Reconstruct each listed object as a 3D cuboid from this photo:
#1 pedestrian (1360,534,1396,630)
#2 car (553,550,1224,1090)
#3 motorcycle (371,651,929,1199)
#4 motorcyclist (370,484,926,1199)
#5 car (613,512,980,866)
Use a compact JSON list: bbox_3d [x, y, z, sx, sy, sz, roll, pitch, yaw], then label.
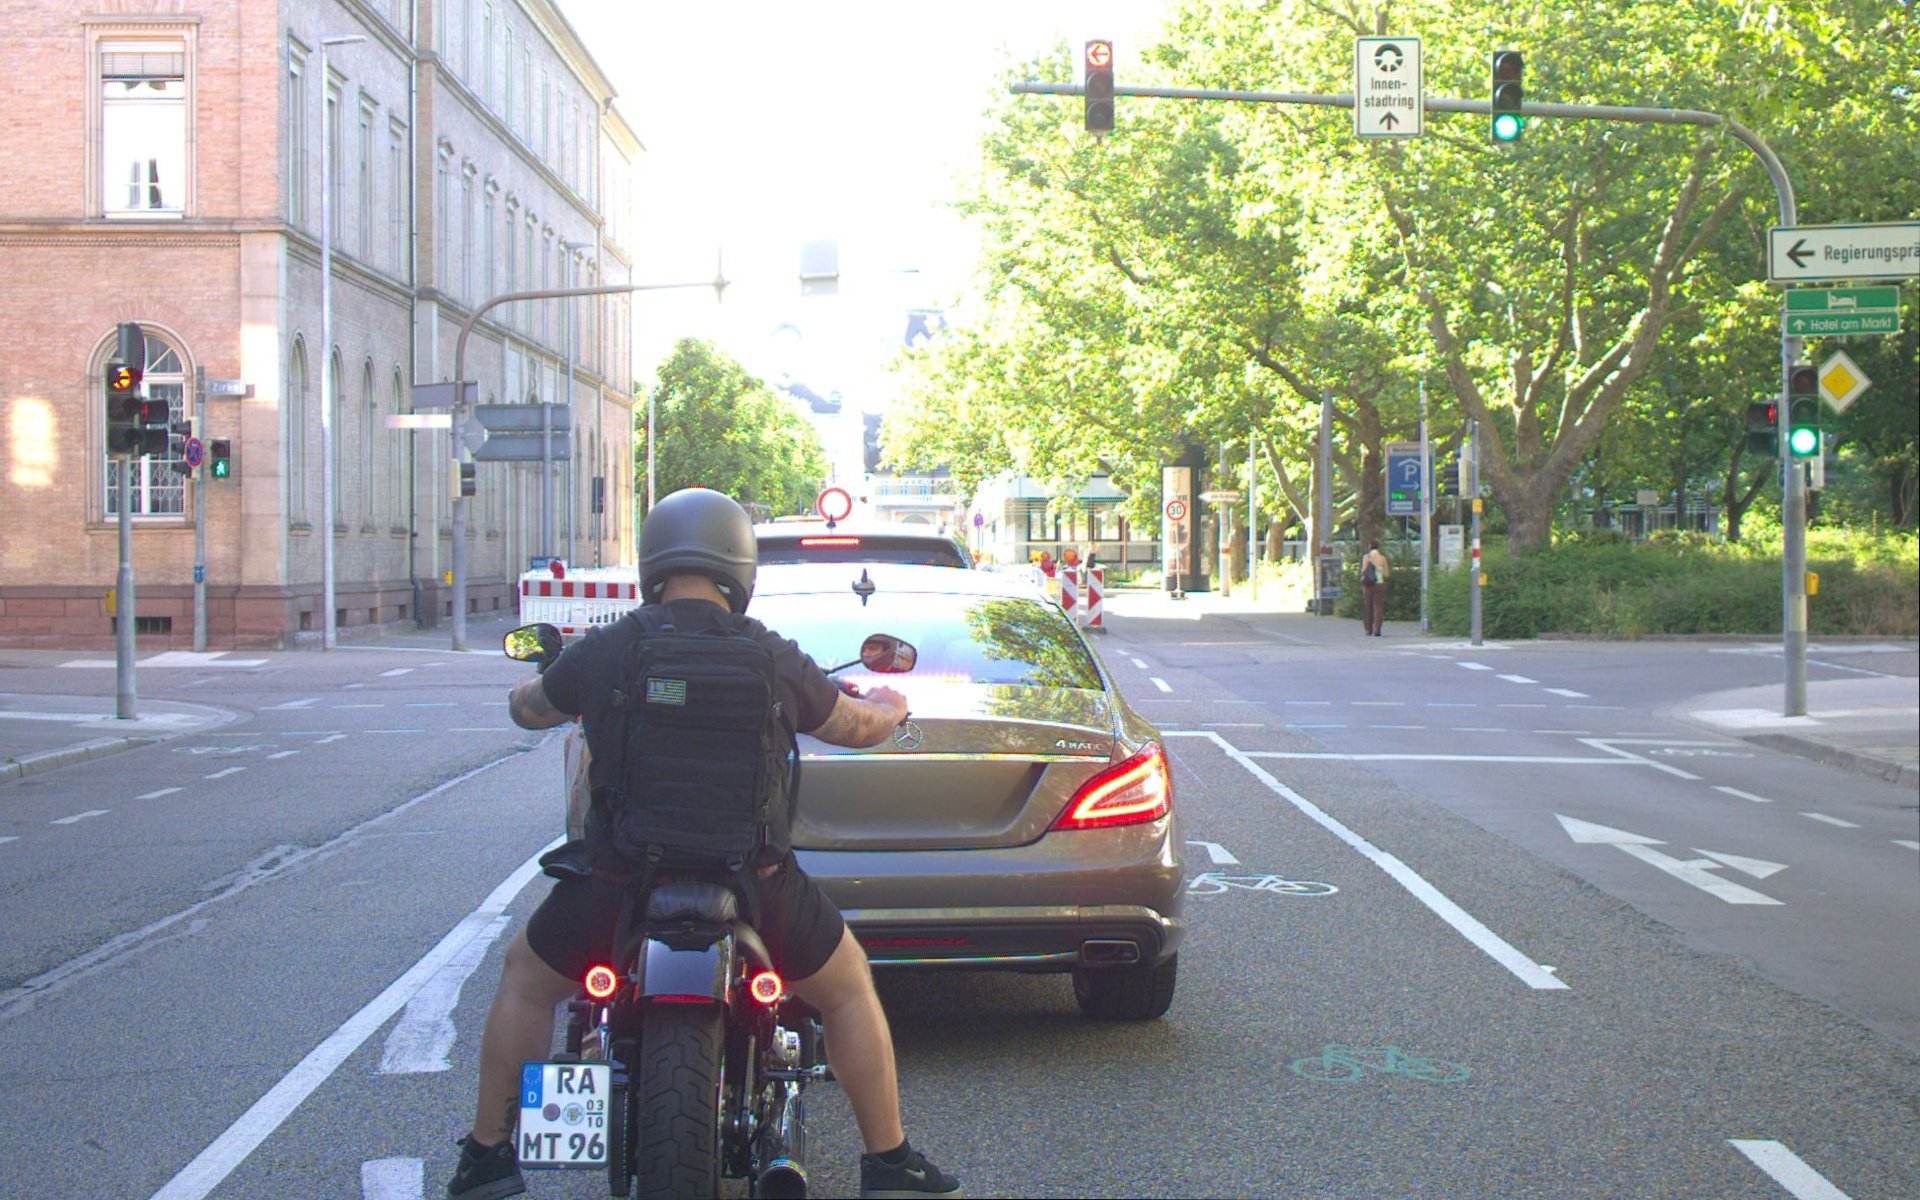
[{"bbox_3d":[7.356,-0.321,60.572,0.559,1.672,0.565,0,1,-1],"label":"pedestrian"},{"bbox_3d":[-0.442,0.569,11.659,1.821,1.471,4.354,0,1,-7],"label":"car"},{"bbox_3d":[-0.575,0.758,7.545,1.007,1.200,2.665,0,1,-1],"label":"motorcycle"},{"bbox_3d":[-0.632,0.561,7.496,1.113,1.607,1.202,0,1,-1],"label":"motorcyclist"},{"bbox_3d":[-0.810,0.378,17.675,1.681,1.619,3.841,0,1,-2],"label":"car"}]
